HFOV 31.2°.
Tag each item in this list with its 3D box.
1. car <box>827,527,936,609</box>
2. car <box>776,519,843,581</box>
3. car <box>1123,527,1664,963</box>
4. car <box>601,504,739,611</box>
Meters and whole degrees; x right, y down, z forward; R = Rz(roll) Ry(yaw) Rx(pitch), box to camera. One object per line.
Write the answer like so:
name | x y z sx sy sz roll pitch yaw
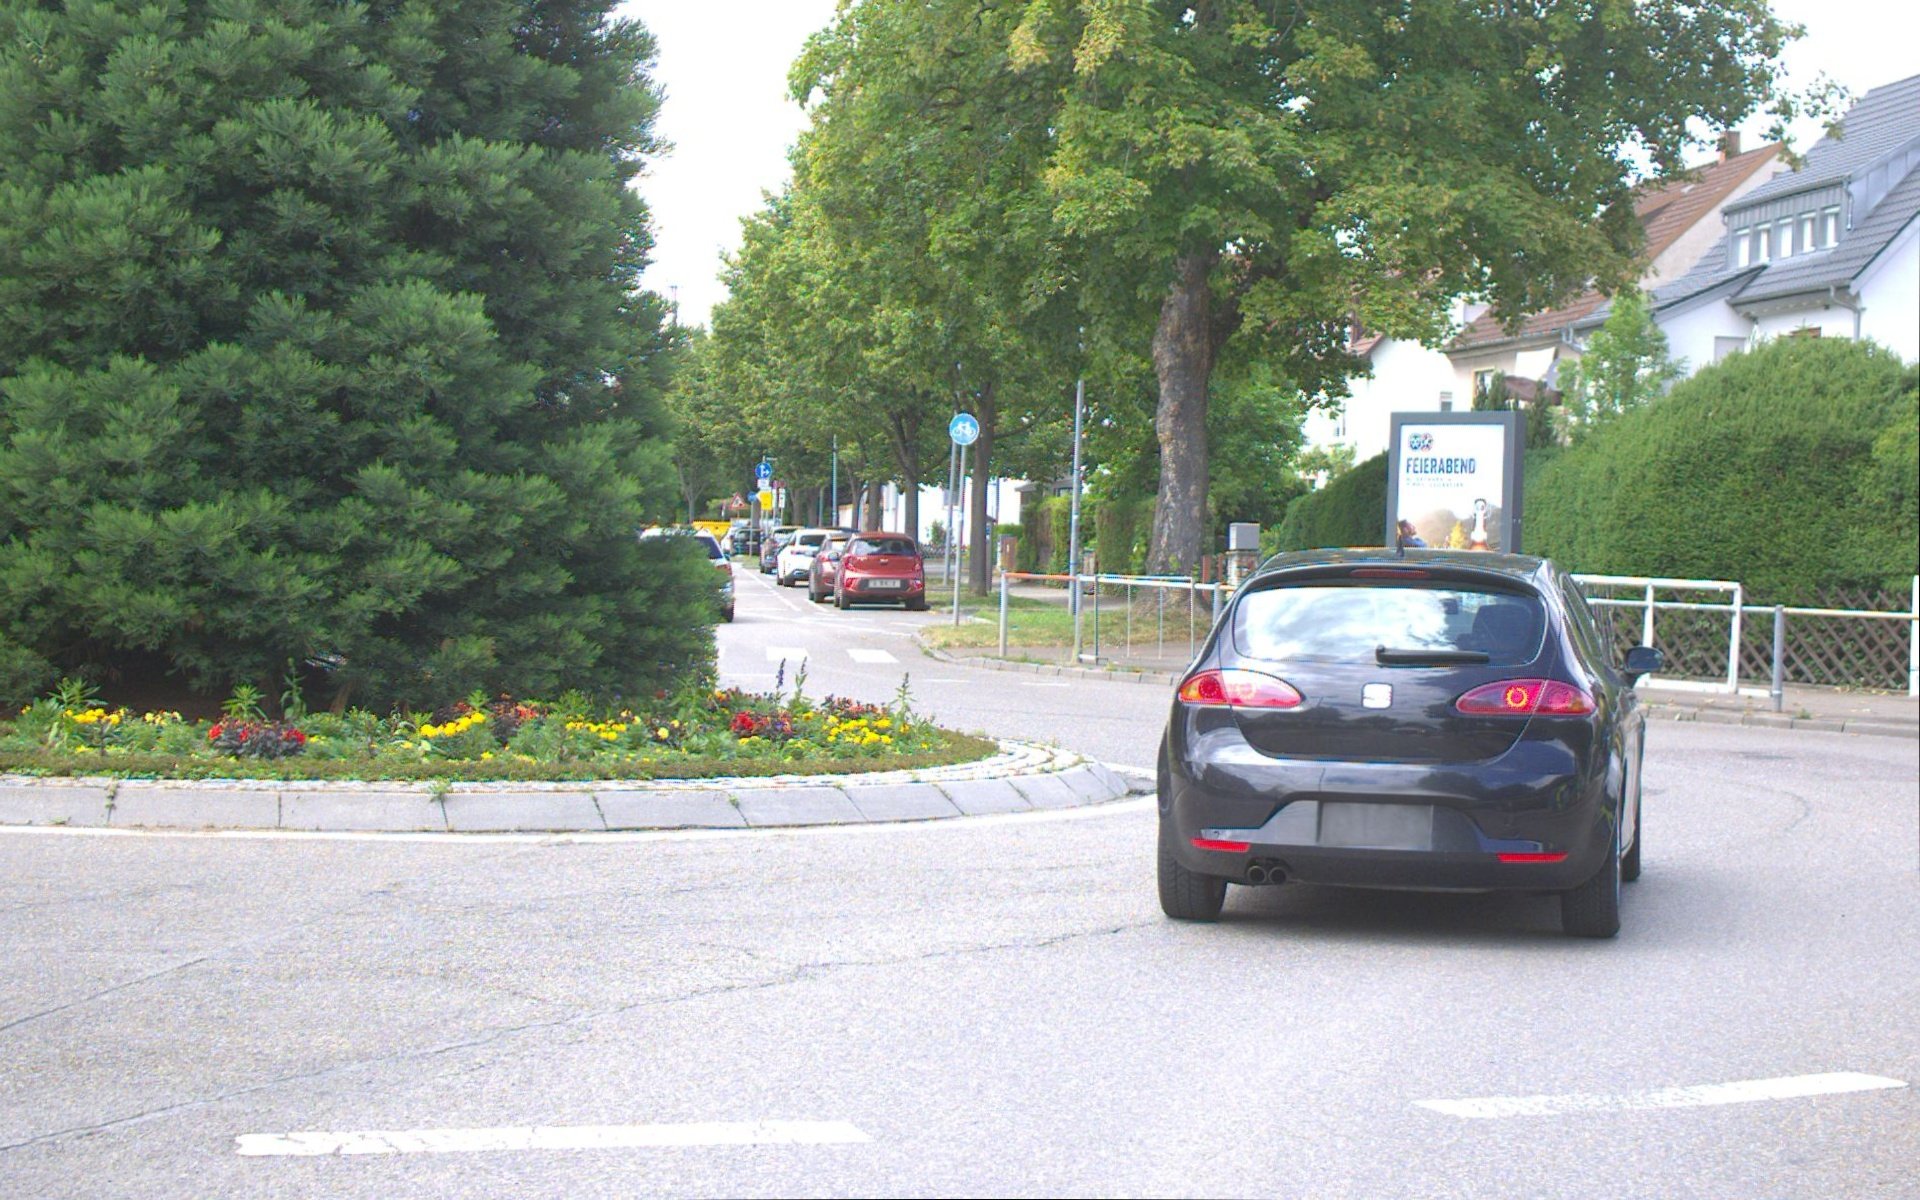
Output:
car | -1.536 -0.627 66.231 1.474 1.484 3.383 1 1 -12
car | -3.845 -1.288 87.630 1.594 1.505 3.601 1 1 -4
car | 1.917 0.472 14.116 1.733 1.481 3.998 2 1 14
car | -4.727 -0.709 55.597 1.993 1.607 4.001 2 1 -7
